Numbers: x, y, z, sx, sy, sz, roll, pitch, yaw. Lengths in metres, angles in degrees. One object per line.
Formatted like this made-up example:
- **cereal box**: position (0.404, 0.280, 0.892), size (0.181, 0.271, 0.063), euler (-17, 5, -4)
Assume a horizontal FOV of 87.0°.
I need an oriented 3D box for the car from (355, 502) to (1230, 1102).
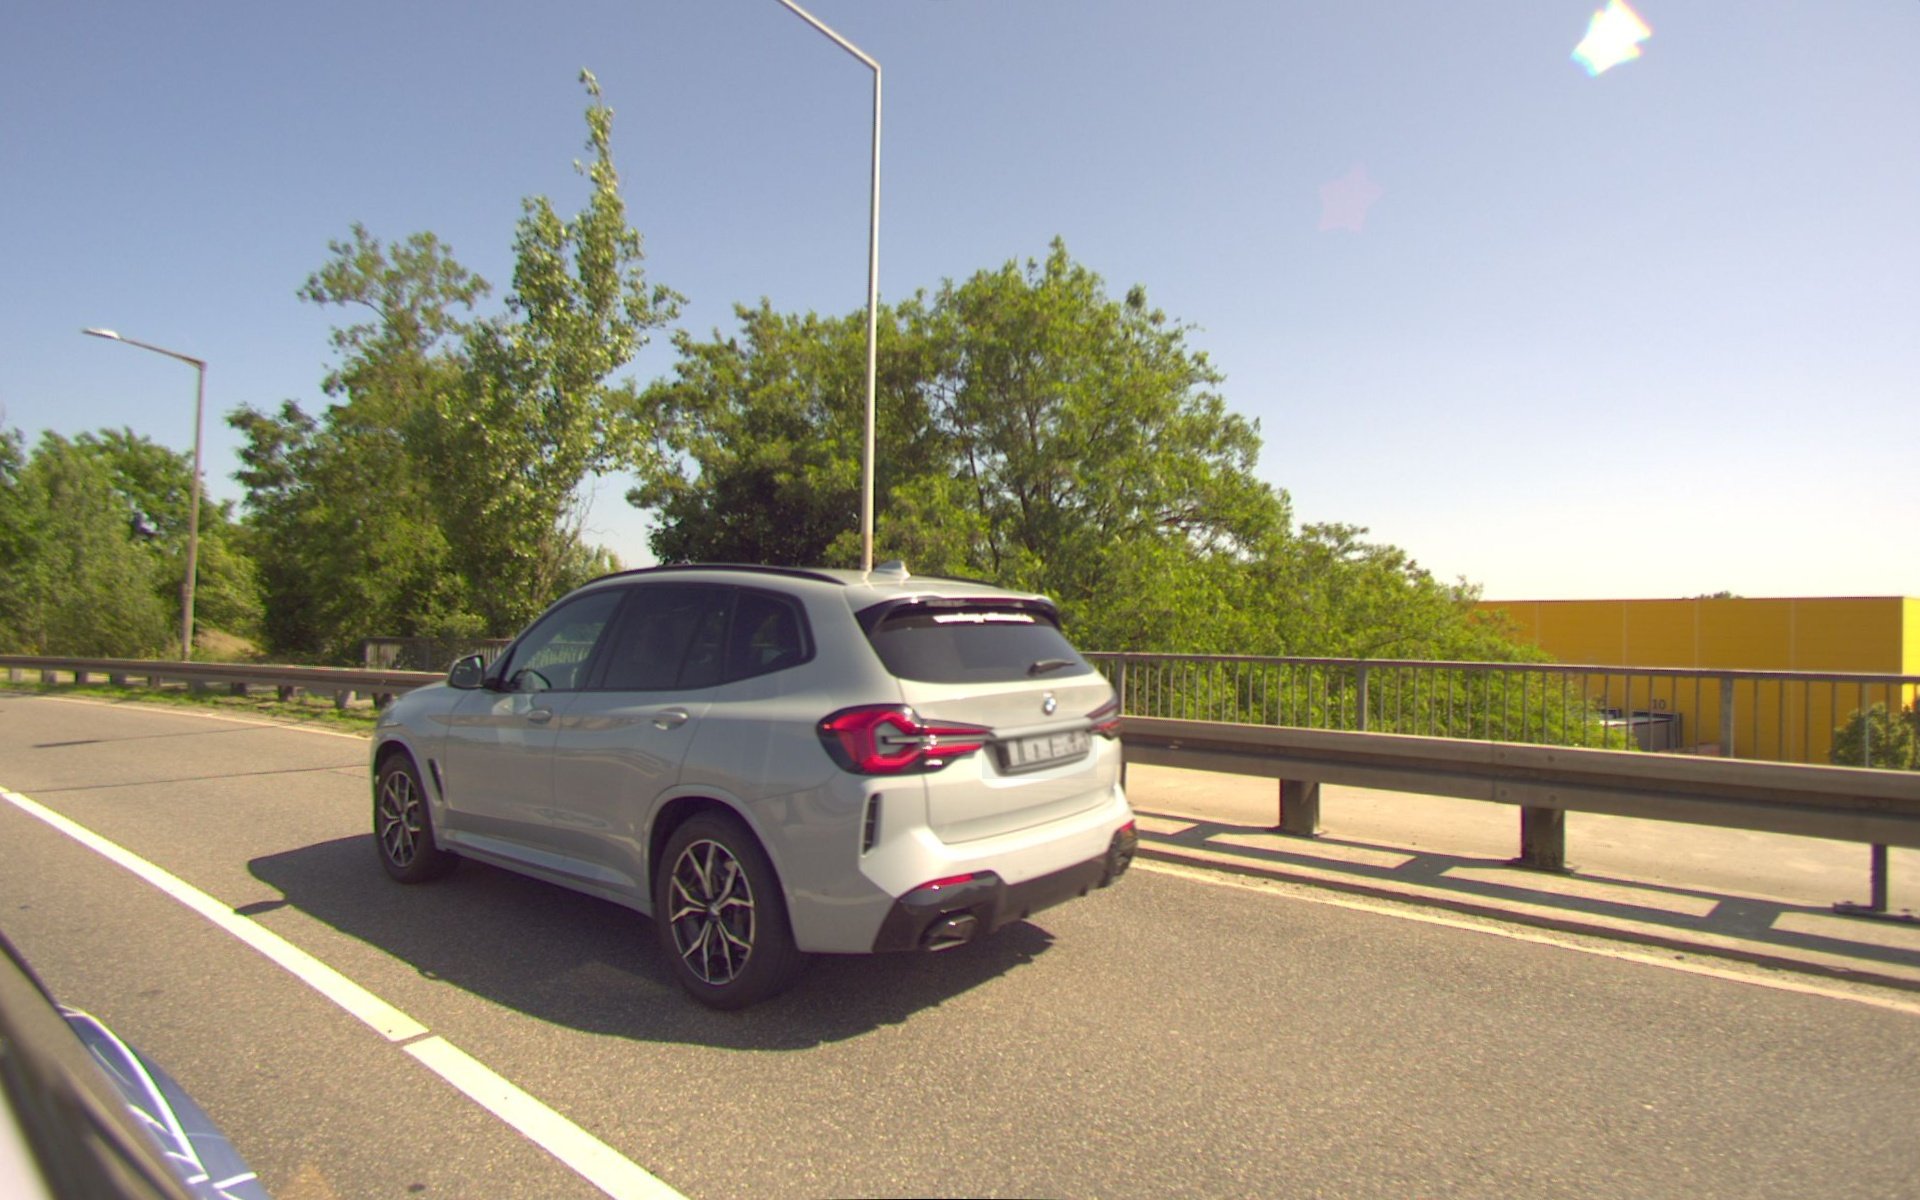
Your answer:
- **car**: position (-1.151, 0.568, 5.021), size (4.470, 1.695, 1.839), euler (0, 0, 40)
